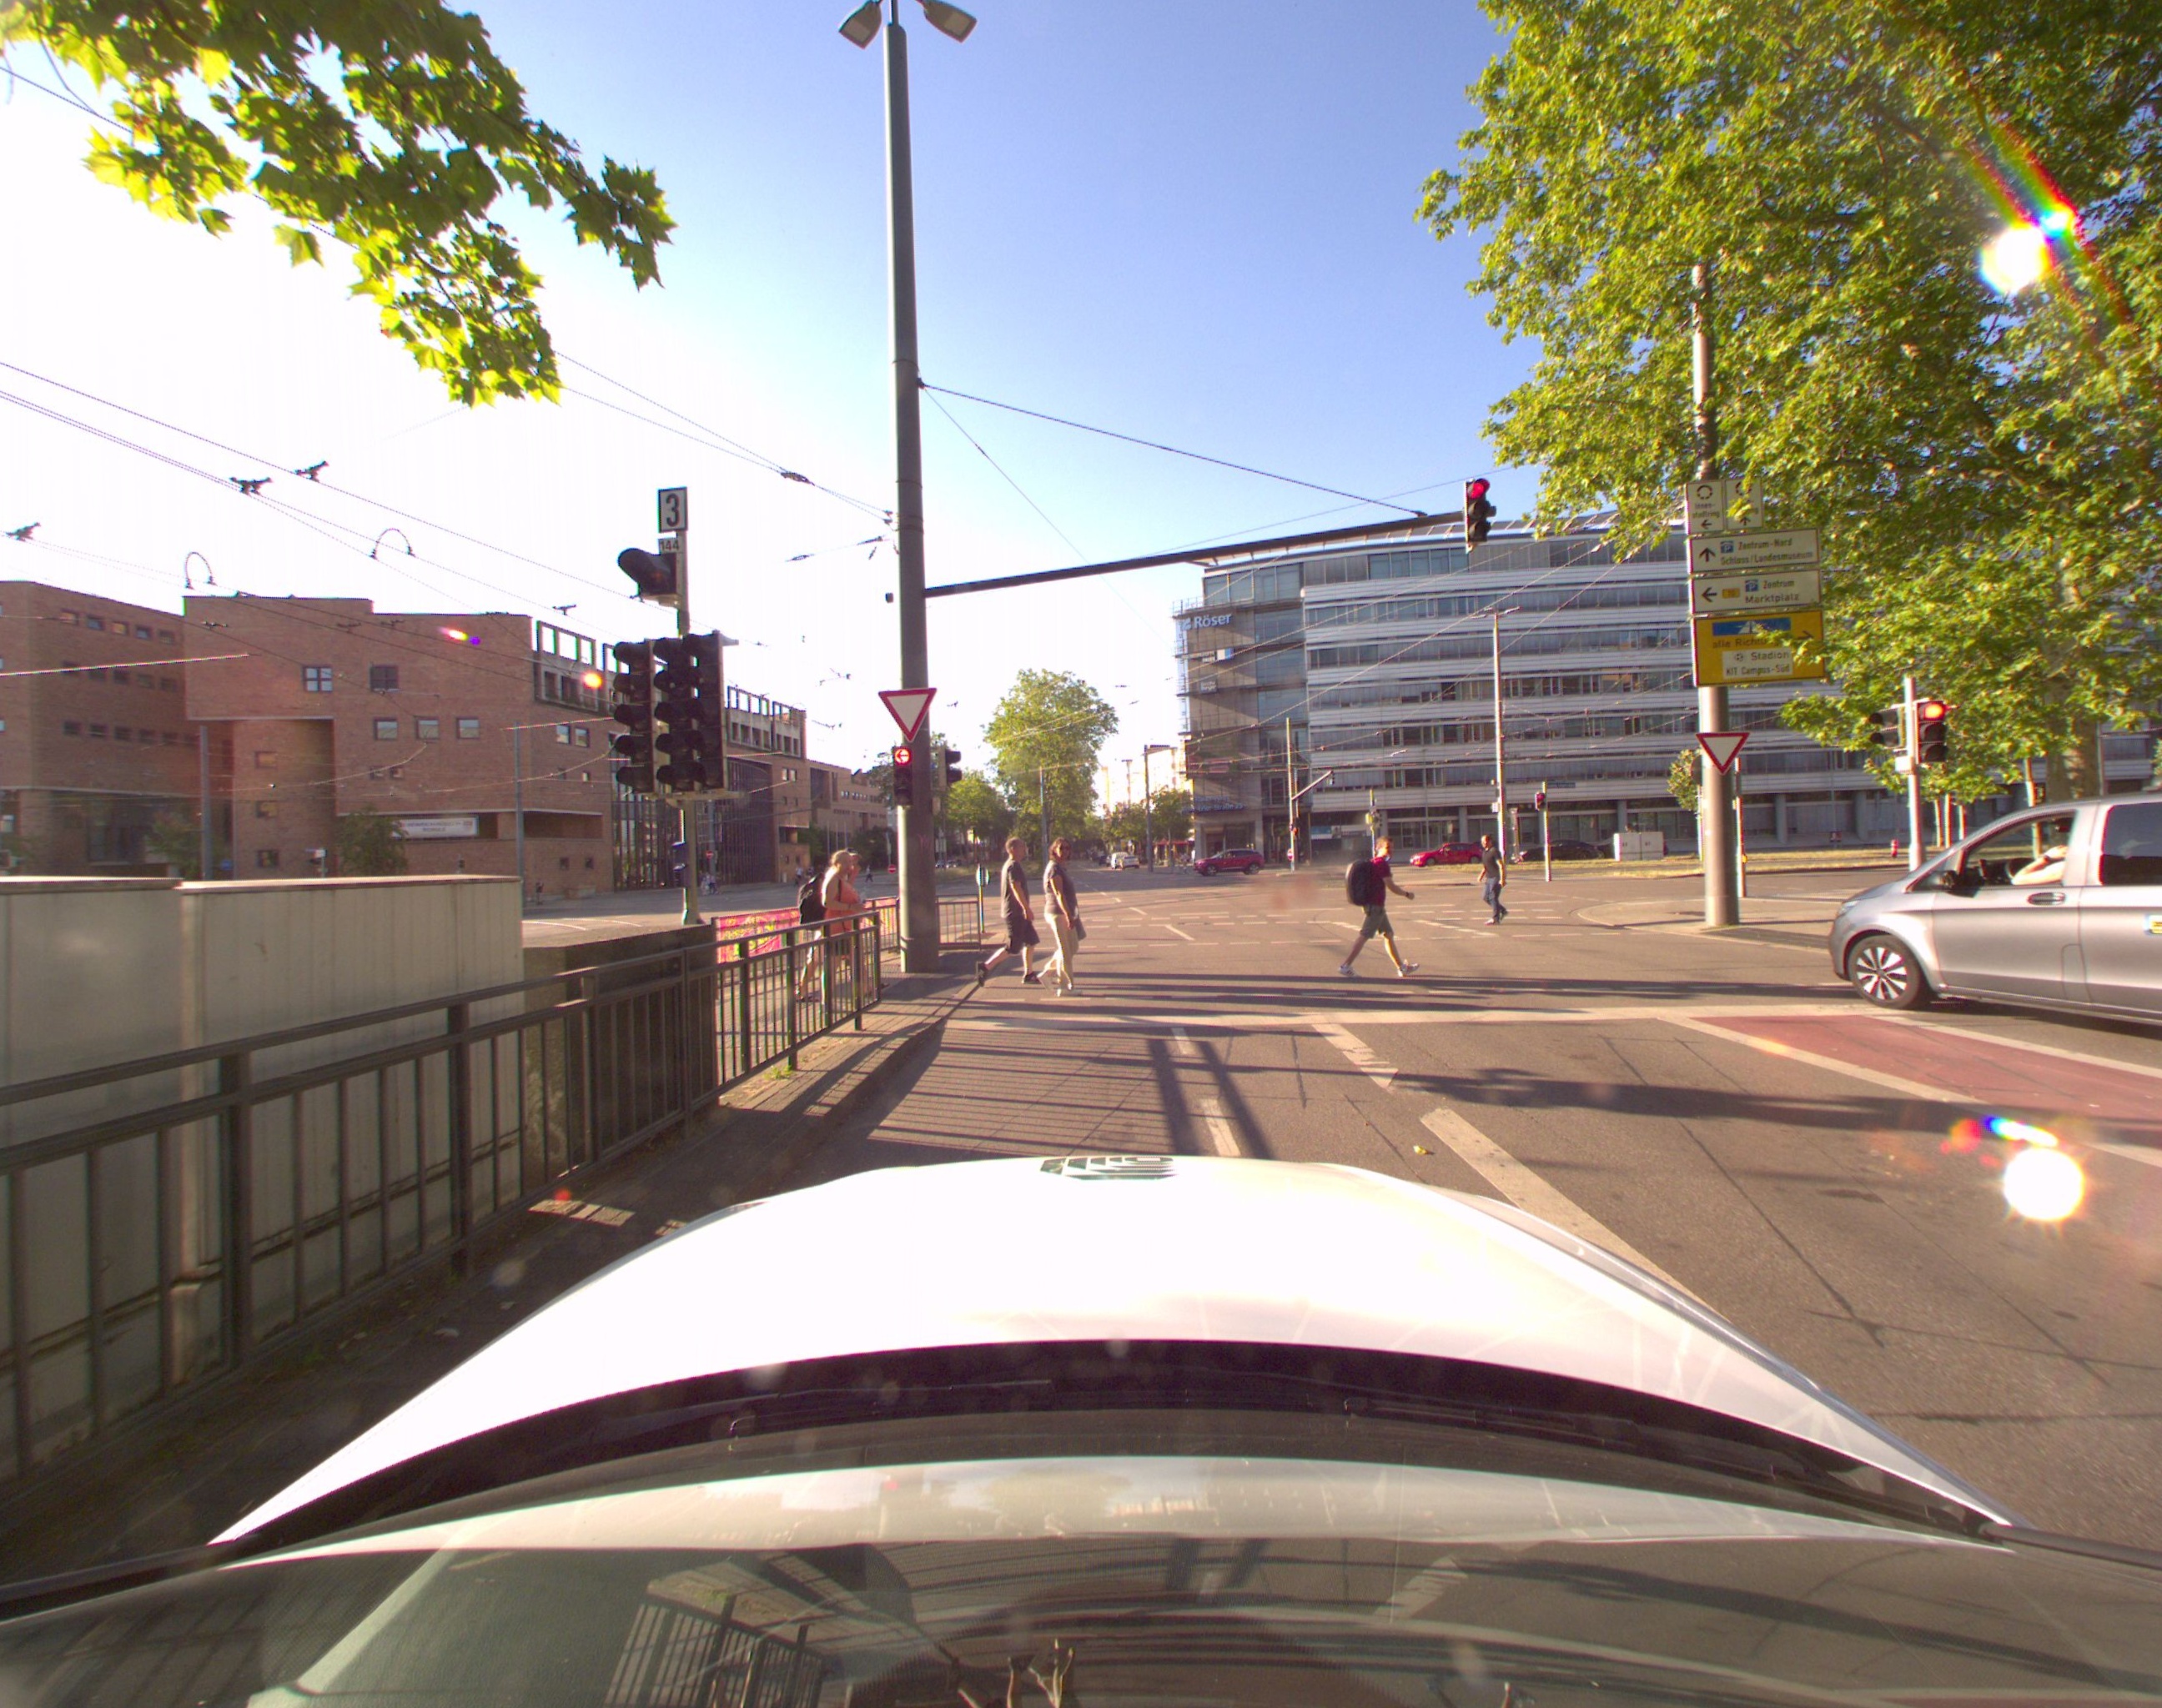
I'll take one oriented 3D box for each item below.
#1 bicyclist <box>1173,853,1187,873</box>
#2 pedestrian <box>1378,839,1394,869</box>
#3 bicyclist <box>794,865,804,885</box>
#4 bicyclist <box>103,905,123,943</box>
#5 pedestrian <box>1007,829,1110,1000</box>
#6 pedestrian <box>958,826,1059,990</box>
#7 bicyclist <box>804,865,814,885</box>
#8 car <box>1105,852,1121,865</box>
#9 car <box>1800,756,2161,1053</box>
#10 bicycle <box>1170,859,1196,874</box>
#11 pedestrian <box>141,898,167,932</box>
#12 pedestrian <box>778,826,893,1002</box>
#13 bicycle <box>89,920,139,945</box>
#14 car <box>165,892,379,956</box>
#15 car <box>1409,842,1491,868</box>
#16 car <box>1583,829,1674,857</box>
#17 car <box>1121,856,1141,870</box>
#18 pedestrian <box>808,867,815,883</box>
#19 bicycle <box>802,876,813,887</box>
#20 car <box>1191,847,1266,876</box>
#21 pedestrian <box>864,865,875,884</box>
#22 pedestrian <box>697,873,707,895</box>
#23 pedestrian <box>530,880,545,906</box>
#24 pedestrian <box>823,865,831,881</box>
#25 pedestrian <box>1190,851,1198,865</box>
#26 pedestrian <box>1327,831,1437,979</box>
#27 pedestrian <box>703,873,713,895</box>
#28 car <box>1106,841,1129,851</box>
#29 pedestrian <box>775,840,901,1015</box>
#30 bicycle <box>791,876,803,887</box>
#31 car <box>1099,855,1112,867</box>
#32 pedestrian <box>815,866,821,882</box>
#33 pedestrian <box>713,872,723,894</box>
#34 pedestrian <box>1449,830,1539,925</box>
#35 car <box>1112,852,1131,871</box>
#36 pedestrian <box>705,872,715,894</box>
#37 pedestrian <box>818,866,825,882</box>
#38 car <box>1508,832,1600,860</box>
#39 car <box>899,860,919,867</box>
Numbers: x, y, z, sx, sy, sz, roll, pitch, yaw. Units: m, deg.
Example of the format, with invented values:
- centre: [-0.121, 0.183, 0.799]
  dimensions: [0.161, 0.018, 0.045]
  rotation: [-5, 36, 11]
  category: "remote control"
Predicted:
- centre: [6.946, 0.633, 57.157]
  dimensions: [0.816, 1.366, 0.400]
  rotation: [-3, 0, -1]
  category: "bicyclist"
- centre: [17.283, -0.012, 46.096]
  dimensions: [0.715, 1.681, 0.558]
  rotation: [-1, -1, 9]
  category: "pedestrian"
- centre: [-24.288, 1.829, 70.107]
  dimensions: [0.592, 1.675, 0.788]
  rotation: [-3, 0, -5]
  category: "bicyclist"
- centre: [-55.058, 3.977, 46.322]
  dimensions: [0.559, 2.060, 0.451]
  rotation: [-3, -1, -3]
  category: "bicyclist"
- centre: [-0.274, 0.648, 9.142]
  dimensions: [1.070, 1.806, 0.756]
  rotation: [-1, -1, -6]
  category: "pedestrian"
- centre: [-0.886, 0.630, 9.981]
  dimensions: [1.143, 1.893, 0.831]
  rotation: [-1, -1, -6]
  category: "pedestrian"
- centre: [-23.521, 1.819, 70.345]
  dimensions: [0.592, 1.675, 0.788]
  rotation: [-3, 0, -5]
  category: "bicyclist"
- centre: [4.277, 0.610, 108.903]
  dimensions: [1.986, 1.662, 4.001]
  rotation: [-3, 0, 2]
  category: "car"
- centre: [8.146, 0.316, 5.595]
  dimensions: [1.986, 1.966, 5.140]
  rotation: [-1, 0, 2]
  category: "car"
- centre: [7.159, 0.878, 57.169]
  dimensions: [1.736, 0.899, 0.409]
  rotation: [-3, 0, -2]
  category: "bicycle"
- centre: [-45.665, 2.984, 40.122]
  dimensions: [0.542, 1.613, 0.613]
  rotation: [0, 1, -3]
  category: "pedestrian"
- centre: [-2.739, 0.647, 9.169]
  dimensions: [1.072, 1.871, 0.737]
  rotation: [-1, -1, -6]
  category: "pedestrian"
- centre: [-54.993, 4.465, 46.319]
  dimensions: [2.085, 1.239, 0.453]
  rotation: [-3, 0, -3]
  category: "bicycle"
- centre: [-22.953, 1.960, 23.244]
  dimensions: [3.943, 1.456, 1.999]
  rotation: [-3, 0, -2]
  category: "car"
- centre: [22.795, 0.054, 50.427]
  dimensions: [4.222, 1.392, 1.797]
  rotation: [-3, 0, 4]
  category: "car"
- centre: [33.140, -0.658, 49.400]
  dimensions: [4.219, 1.434, 1.799]
  rotation: [-3, 0, 6]
  category: "car"
- centre: [5.295, 0.904, 86.657]
  dimensions: [1.986, 1.332, 4.001]
  rotation: [-3, 0, 2]
  category: "car"
- centre: [-31.069, 2.414, 93.828]
  dimensions: [0.487, 1.810, 0.547]
  rotation: [-3, -1, 9]
  category: "pedestrian"
- centre: [-23.605, 2.335, 70.286]
  dimensions: [0.512, 0.881, 1.835]
  rotation: [-3, 0, -6]
  category: "bicycle"
- centre: [9.184, 0.472, 50.833]
  dimensions: [4.232, 1.602, 1.793]
  rotation: [-3, 0, -4]
  category: "car"
- centre: [-17.272, 1.663, 66.510]
  dimensions: [0.753, 1.530, 0.507]
  rotation: [-1, -1, -6]
  category: "pedestrian"
- centre: [-28.205, 2.218, 60.570]
  dimensions: [0.538, 1.650, 0.622]
  rotation: [-3, 0, -17]
  category: "pedestrian"
- centre: [-35.235, 2.539, 52.767]
  dimensions: [0.538, 1.613, 0.575]
  rotation: [-3, 0, 32]
  category: "pedestrian"
- centre: [-29.617, 2.261, 94.900]
  dimensions: [0.637, 1.810, 0.547]
  rotation: [-3, -1, 8]
  category: "pedestrian"
- centre: [12.263, 0.399, 88.558]
  dimensions: [0.737, 1.465, 0.537]
  rotation: [-3, 0, 0]
  category: "pedestrian"
- centre: [3.663, 0.603, 9.962]
  dimensions: [1.070, 1.715, 0.628]
  rotation: [-1, -1, -2]
  category: "pedestrian"
- centre: [-28.492, 2.276, 62.194]
  dimensions: [0.538, 1.650, 0.622]
  rotation: [-3, 0, -17]
  category: "pedestrian"
- centre: [6.558, -1.388, 145.334]
  dimensions: [3.732, 1.750, 1.789]
  rotation: [-1, -1, 16]
  category: "car"
- centre: [-2.456, 0.715, 8.338]
  dimensions: [1.071, 1.682, 0.756]
  rotation: [-1, -1, -6]
  category: "pedestrian"
- centre: [-24.425, 2.393, 69.997]
  dimensions: [0.512, 0.881, 1.835]
  rotation: [-3, 0, -6]
  category: "bicycle"
- centre: [3.996, 1.102, 130.636]
  dimensions: [1.986, 1.662, 4.001]
  rotation: [-3, 0, 2]
  category: "car"
- centre: [-30.694, 2.340, 95.053]
  dimensions: [0.487, 1.810, 0.547]
  rotation: [-3, -1, 9]
  category: "pedestrian"
- centre: [-27.454, 2.164, 61.615]
  dimensions: [0.538, 1.650, 0.622]
  rotation: [-3, -1, -16]
  category: "pedestrian"
- centre: [8.237, 0.451, 16.297]
  dimensions: [1.206, 1.822, 1.040]
  rotation: [-1, -1, -4]
  category: "pedestrian"
- centre: [4.668, 0.814, 93.568]
  dimensions: [1.986, 1.991, 4.001]
  rotation: [-3, 0, 2]
  category: "car"
- centre: [-28.642, 2.232, 62.917]
  dimensions: [0.538, 1.650, 0.622]
  rotation: [-2, -1, -17]
  category: "pedestrian"
- centre: [-29.775, 2.331, 93.427]
  dimensions: [0.519, 1.779, 0.547]
  rotation: [-3, -1, 8]
  category: "pedestrian"
- centre: [27.465, -0.438, 47.406]
  dimensions: [4.219, 1.392, 1.799]
  rotation: [-3, 0, 6]
  category: "car"
- centre: [-37.633, 2.098, 178.334]
  dimensions: [4.011, 1.552, 1.592]
  rotation: [-1, -1, -30]
  category: "car"
